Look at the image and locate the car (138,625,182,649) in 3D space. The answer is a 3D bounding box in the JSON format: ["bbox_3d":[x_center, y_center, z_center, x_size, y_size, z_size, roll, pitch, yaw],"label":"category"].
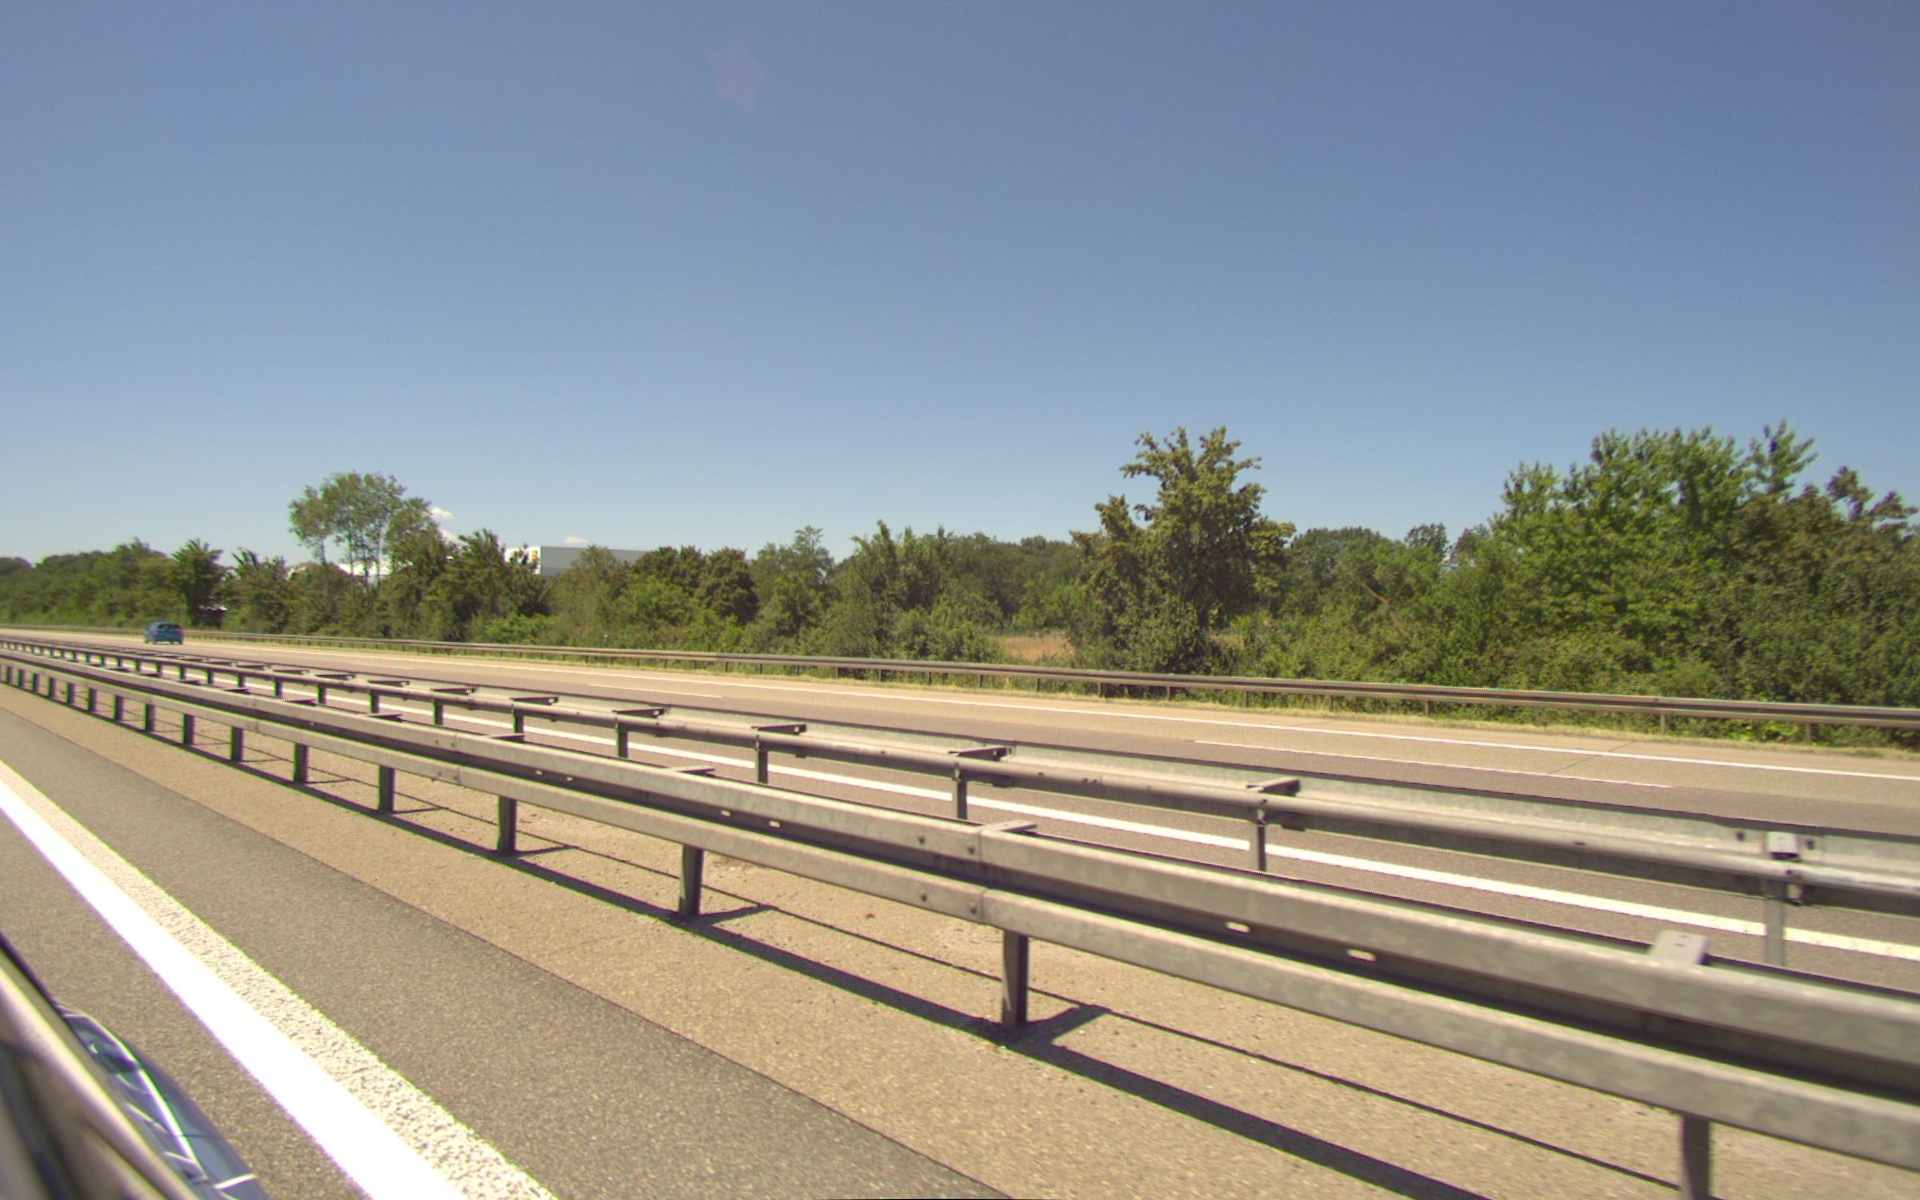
[{"bbox_3d":[-53.377,2.475,67.496,3.469,1.435,1.548,0,-3,40],"label":"car"}]
